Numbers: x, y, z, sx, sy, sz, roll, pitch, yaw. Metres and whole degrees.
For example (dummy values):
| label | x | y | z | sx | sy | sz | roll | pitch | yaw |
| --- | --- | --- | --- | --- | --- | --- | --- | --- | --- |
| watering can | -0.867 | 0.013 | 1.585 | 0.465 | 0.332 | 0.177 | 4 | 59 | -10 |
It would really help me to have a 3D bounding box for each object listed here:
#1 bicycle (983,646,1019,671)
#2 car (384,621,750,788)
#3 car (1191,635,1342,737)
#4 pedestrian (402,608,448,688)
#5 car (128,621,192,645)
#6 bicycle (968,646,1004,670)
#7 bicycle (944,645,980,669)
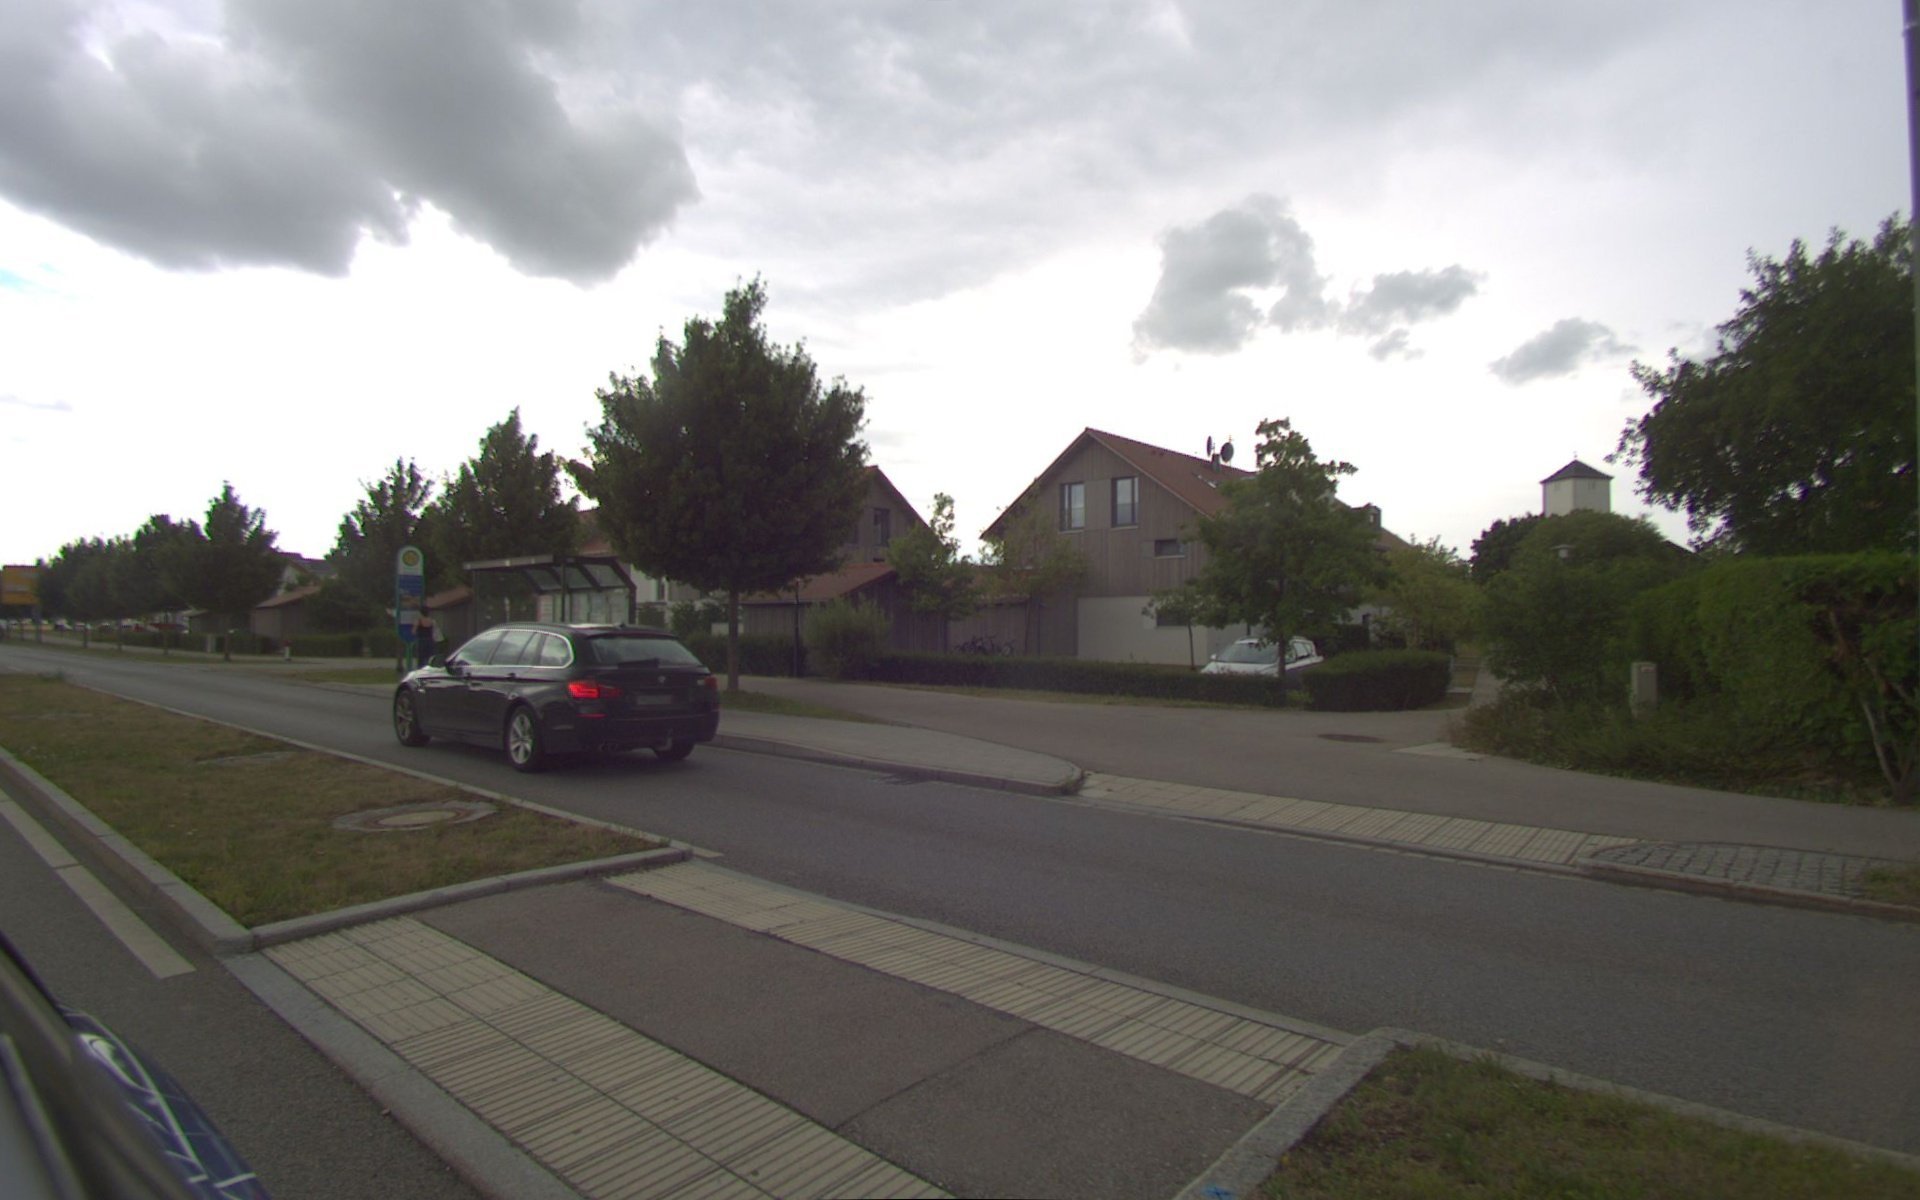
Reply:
| label | x | y | z | sx | sy | sz | roll | pitch | yaw |
| --- | --- | --- | --- | --- | --- | --- | --- | --- | --- |
| bicycle | 1.660 | 2.340 | 40.664 | 0.419 | 0.916 | 1.922 | -1 | -2 | 38 |
| car | -4.457 | 0.977 | 11.125 | 4.494 | 1.465 | 1.900 | -1 | -2 | 41 |
| car | 7.040 | 1.843 | 22.996 | 1.997 | 2.029 | 3.948 | -1 | -2 | 38 |
| pedestrian | -11.245 | 0.994 | 21.266 | 0.812 | 1.649 | 0.582 | -1 | -2 | 40 |
| car | -74.942 | 3.059 | 94.810 | 2.001 | 2.029 | 4.506 | 0 | 0 | 45 |
| bicycle | 1.072 | 2.342 | 41.189 | 0.419 | 0.916 | 1.922 | -1 | -2 | 38 |
| bicycle | 0.085 | 2.352 | 42.022 | 0.419 | 0.916 | 1.922 | -1 | -2 | 38 |
